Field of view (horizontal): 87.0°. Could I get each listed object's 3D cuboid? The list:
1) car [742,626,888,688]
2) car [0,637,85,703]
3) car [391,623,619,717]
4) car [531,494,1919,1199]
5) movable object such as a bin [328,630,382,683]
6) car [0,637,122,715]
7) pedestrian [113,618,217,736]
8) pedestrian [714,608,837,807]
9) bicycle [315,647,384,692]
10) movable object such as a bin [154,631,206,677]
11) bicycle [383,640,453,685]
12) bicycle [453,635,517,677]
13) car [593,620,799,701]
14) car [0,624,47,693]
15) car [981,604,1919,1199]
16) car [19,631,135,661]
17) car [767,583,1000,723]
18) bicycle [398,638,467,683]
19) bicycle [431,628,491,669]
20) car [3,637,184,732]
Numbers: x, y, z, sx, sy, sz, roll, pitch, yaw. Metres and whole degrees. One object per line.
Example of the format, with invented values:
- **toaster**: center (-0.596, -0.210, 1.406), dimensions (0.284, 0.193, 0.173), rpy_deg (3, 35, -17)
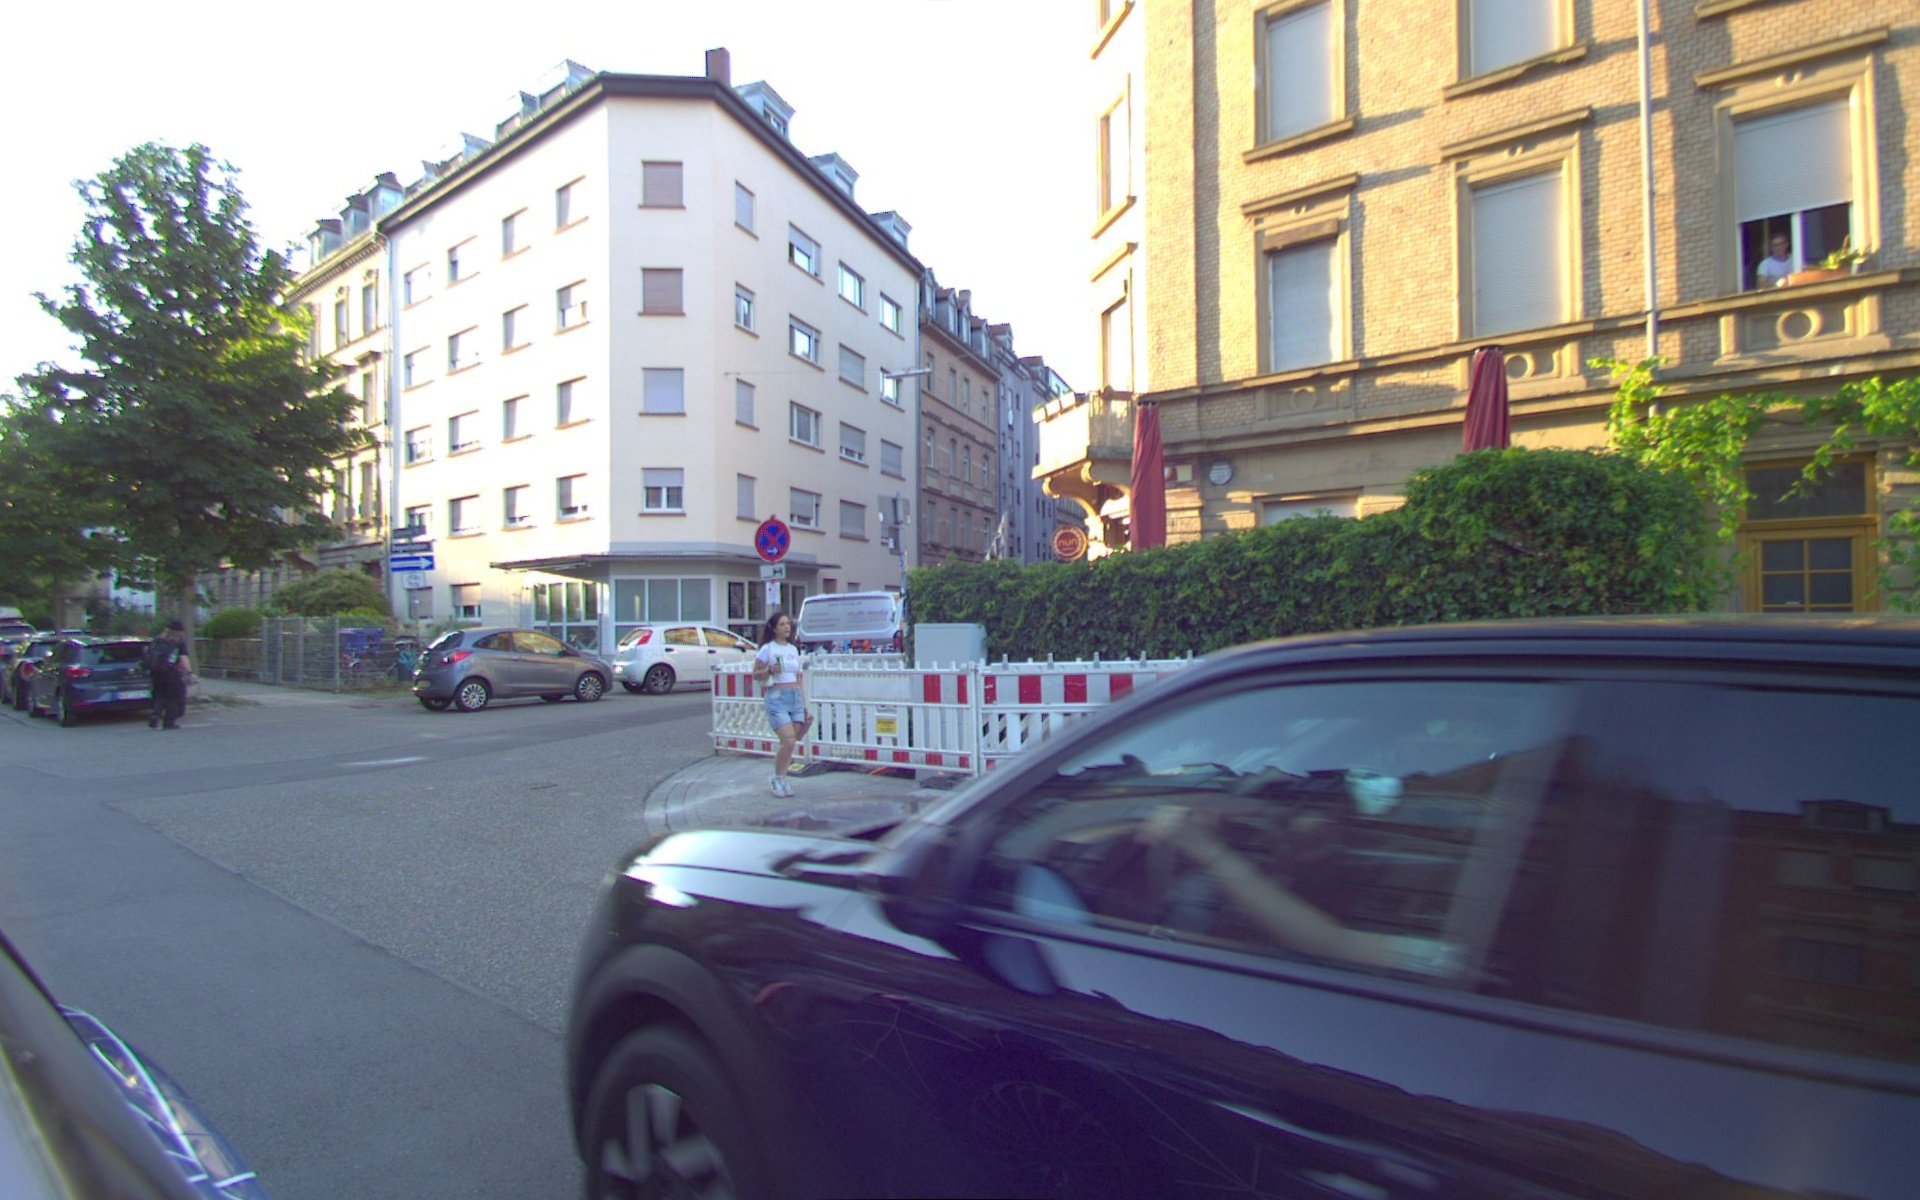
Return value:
- **car**: center (-3.699, 1.445, 26.558), dimensions (1.986, 1.450, 4.047), rpy_deg (-2, -2, 23)
- **car**: center (-23.162, 1.657, 24.789), dimensions (4.585, 1.423, 1.843), rpy_deg (-2, -1, 39)
- **car**: center (-8.513, 1.252, 19.119), dimensions (1.843, 1.519, 3.472), rpy_deg (-3, -2, 39)
- **car**: center (1.073, 0.719, 1.541), dimensions (4.001, 1.529, 1.759), rpy_deg (-2, -3, 44)
- **movable object such as a bin**: center (-16.362, 1.505, 27.376), dimensions (1.398, 1.362, 0.857), rpy_deg (-2, 0, 42)
- **car**: center (-19.234, 1.538, 21.457), dimensions (4.142, 1.431, 1.723), rpy_deg (-2, -1, 43)
- **pedestrian**: center (-12.419, 1.176, 15.840), dimensions (0.878, 1.735, 0.960), rpy_deg (-2, 0, -4)
- **pedestrian**: center (-1.619, 0.896, 8.888), dimensions (0.787, 1.630, 0.701), rpy_deg (-2, 0, 44)
- **bicycle**: center (-14.937, 1.674, 24.746), dimensions (1.927, 1.033, 0.681), rpy_deg (-2, 0, 35)
- **movable object such as a bin**: center (-25.143, 1.726, 32.628), dimensions (1.549, 1.398, 0.937), rpy_deg (-2, 0, 37)
- **bicycle**: center (-13.875, 1.596, 25.926), dimensions (1.528, 1.100, 0.500), rpy_deg (-2, 0, 3)
- **bicycle**: center (-13.556, 1.586, 28.904), dimensions (0.499, 1.100, 1.617), rpy_deg (-2, 0, 34)
- **car**: center (-5.893, 1.284, 22.753), dimensions (4.007, 1.520, 1.978), rpy_deg (-2, 0, -38)
- **car**: center (-26.873, 1.593, 27.922), dimensions (4.618, 1.792, 1.843), rpy_deg (-2, -1, 39)
- **car**: center (2.106, 0.820, 4.025), dimensions (3.841, 1.546, 1.686), rpy_deg (-2, -1, 40)
- **car**: center (-45.427, 2.344, 52.146), dimensions (1.625, 1.351, 4.357), rpy_deg (-2, -1, 40)
- **car**: center (-1.046, 0.827, 17.163), dimensions (2.189, 1.990, 5.265), rpy_deg (-2, -2, 17)
- **bicycle**: center (-13.772, 1.573, 26.440), dimensions (1.528, 1.100, 0.500), rpy_deg (-2, 0, 3)
- **bicycle**: center (-14.609, 1.414, 29.670), dimensions (0.499, 1.100, 1.531), rpy_deg (-2, 0, 34)
- **car**: center (-15.659, 1.421, 18.216), dimensions (4.458, 1.472, 1.658), rpy_deg (-2, -1, 38)
